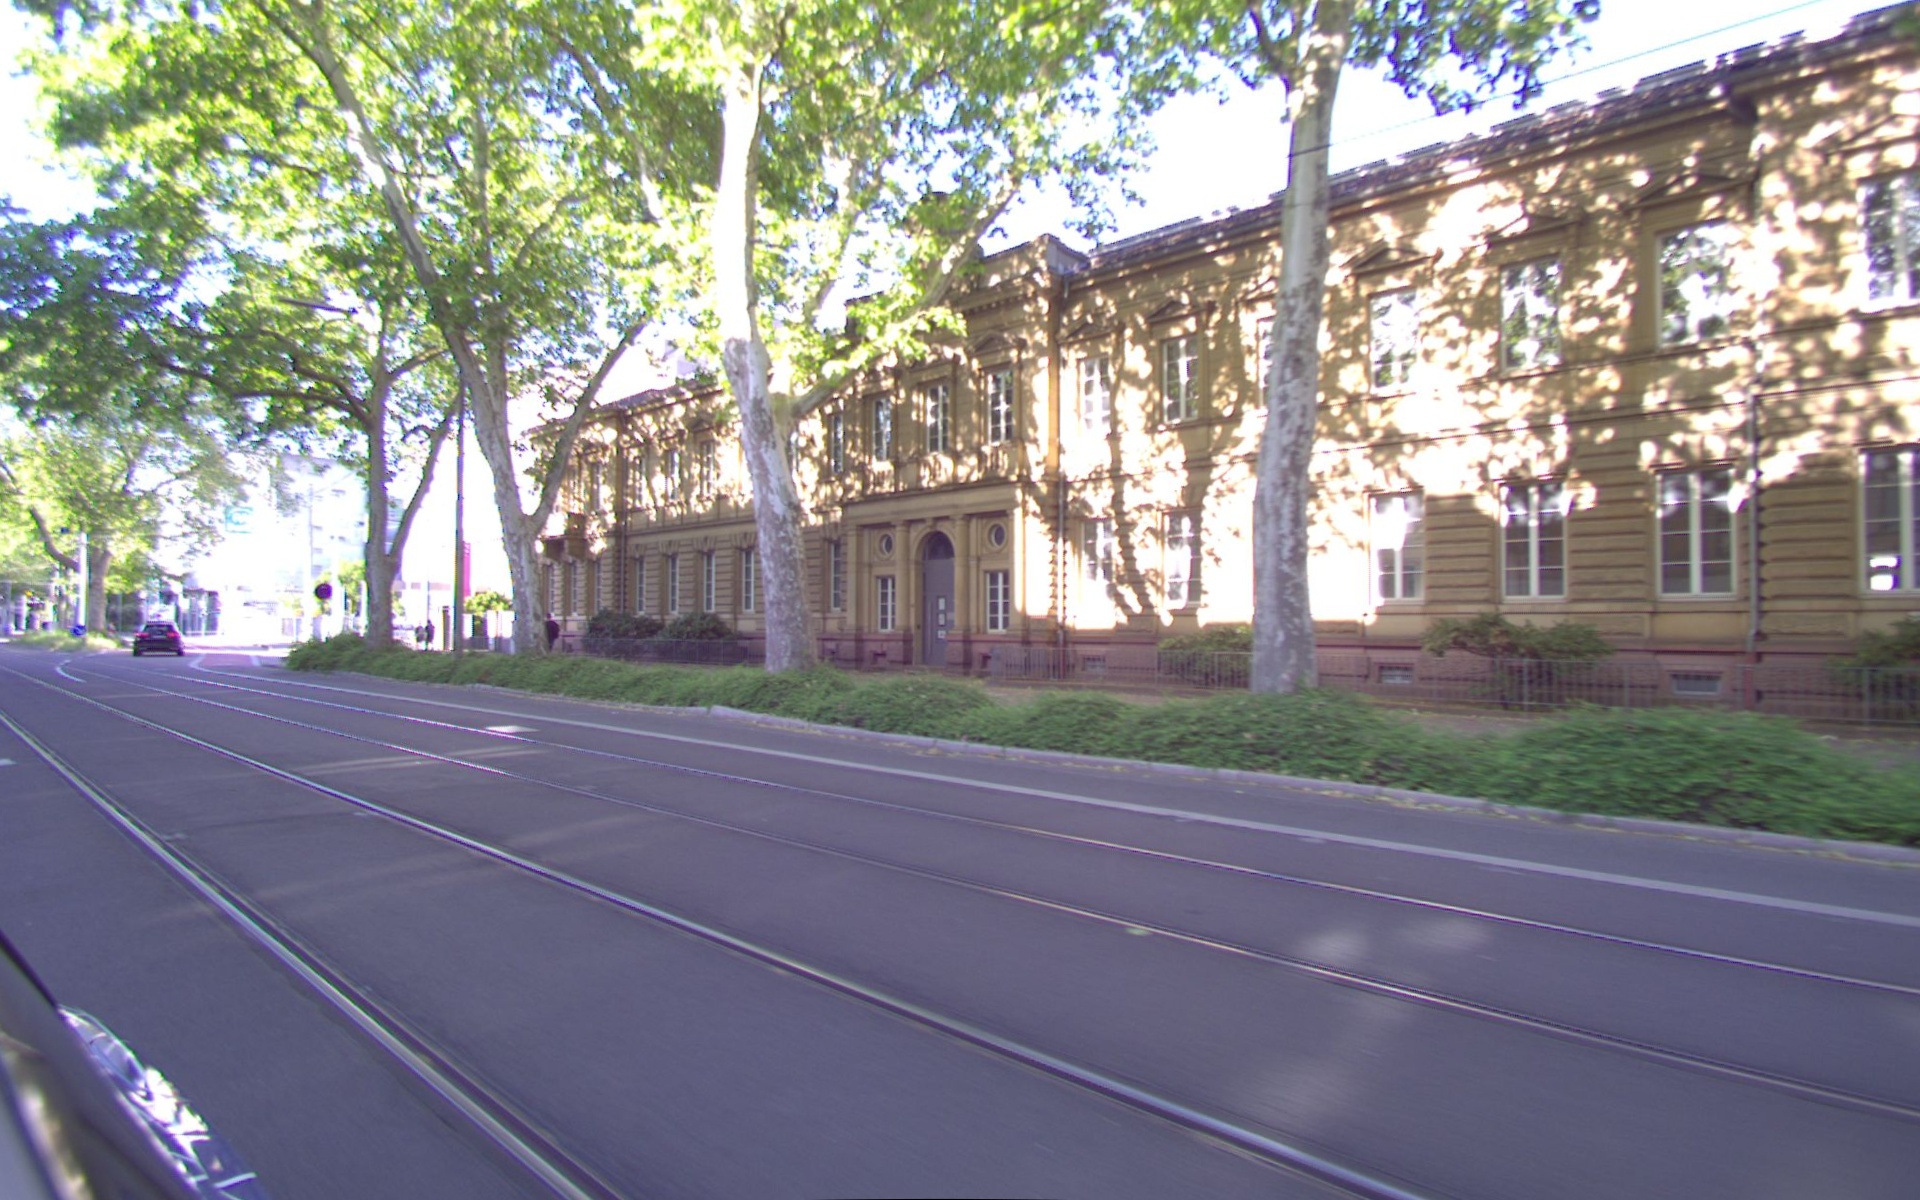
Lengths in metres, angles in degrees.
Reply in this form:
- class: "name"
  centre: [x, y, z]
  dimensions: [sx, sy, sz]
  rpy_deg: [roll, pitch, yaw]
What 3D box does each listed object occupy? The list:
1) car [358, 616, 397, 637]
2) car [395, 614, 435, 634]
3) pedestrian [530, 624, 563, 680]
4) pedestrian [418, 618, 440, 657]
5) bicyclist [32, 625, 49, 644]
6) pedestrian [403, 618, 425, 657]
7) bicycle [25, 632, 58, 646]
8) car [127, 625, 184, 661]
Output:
- class: "car"
  centre: [-50.770, 2.317, 88.156]
  dimensions: [3.999, 1.831, 1.828]
  rpy_deg: [-1, -2, 42]
- class: "car"
  centre: [-48.335, 2.138, 89.706]
  dimensions: [3.999, 1.765, 1.828]
  rpy_deg: [-1, -2, 42]
- class: "pedestrian"
  centre: [-14.050, 1.758, 34.367]
  dimensions: [0.836, 1.863, 0.712]
  rpy_deg: [-1, -2, 38]
- class: "pedestrian"
  centre: [-24.069, 1.689, 45.869]
  dimensions: [0.660, 1.710, 0.665]
  rpy_deg: [-1, -2, 34]
- class: "bicyclist"
  centre: [-79.561, 2.962, 87.549]
  dimensions: [0.759, 1.588, 0.994]
  rpy_deg: [-1, -2, 40]
- class: "pedestrian"
  centre: [-24.437, 1.664, 45.296]
  dimensions: [0.655, 1.710, 0.628]
  rpy_deg: [-1, -2, 37]
- class: "bicycle"
  centre: [-79.500, 3.369, 87.609]
  dimensions: [0.759, 1.137, 2.056]
  rpy_deg: [-1, -2, 40]
- class: "car"
  centre: [-38.497, 2.069, 48.500]
  dimensions: [1.842, 1.642, 4.571]
  rpy_deg: [1, -3, -35]
